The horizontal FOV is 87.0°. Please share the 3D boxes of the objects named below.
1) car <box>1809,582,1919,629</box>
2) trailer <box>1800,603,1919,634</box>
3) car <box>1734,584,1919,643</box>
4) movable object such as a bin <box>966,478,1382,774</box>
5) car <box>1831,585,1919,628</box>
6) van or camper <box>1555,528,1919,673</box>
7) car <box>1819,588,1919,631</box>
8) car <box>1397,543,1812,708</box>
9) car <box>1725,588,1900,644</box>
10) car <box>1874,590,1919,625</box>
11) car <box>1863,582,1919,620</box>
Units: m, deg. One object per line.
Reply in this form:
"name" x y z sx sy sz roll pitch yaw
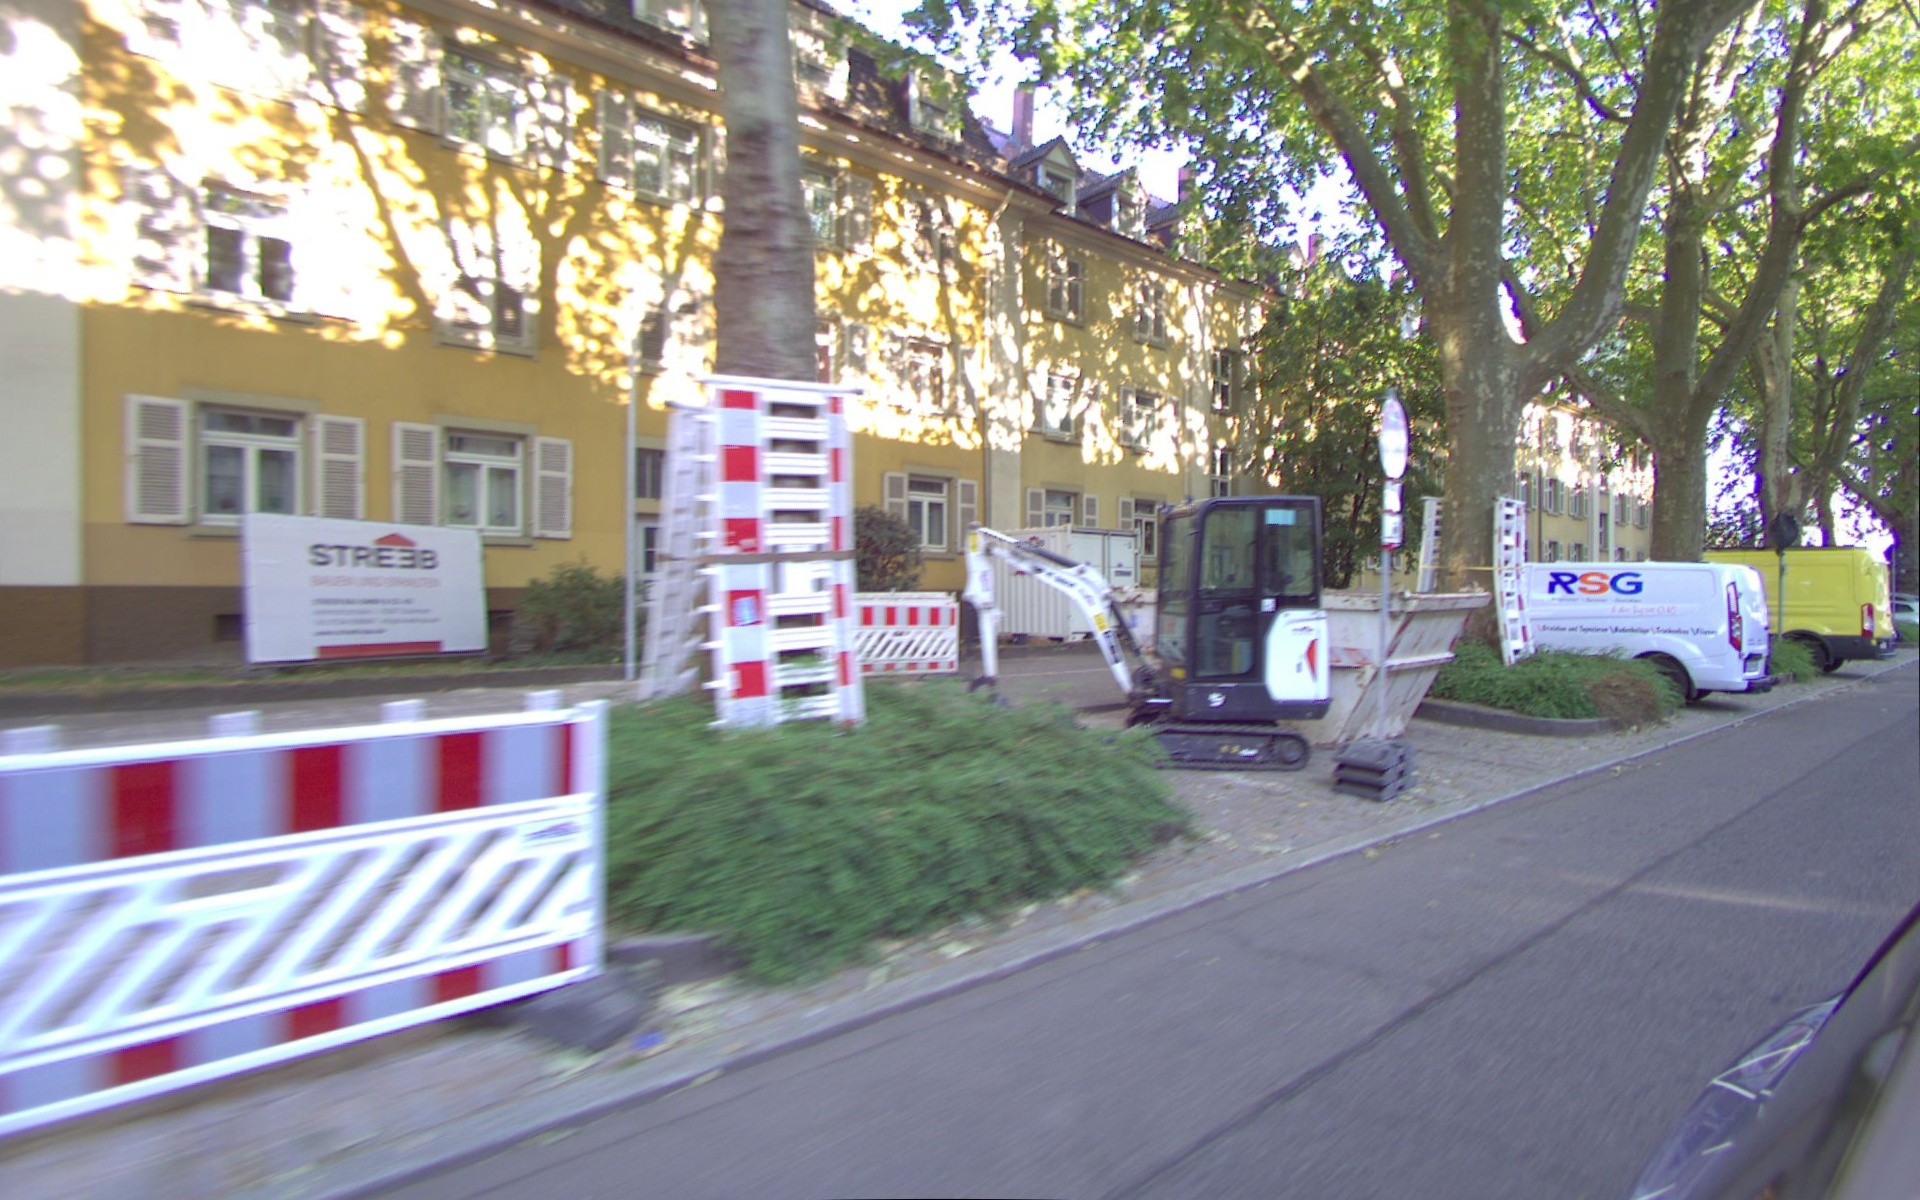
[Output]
"car" 36.880 0.215 40.362 1.806 1.753 4.322 1 1 -37
"trailer" 32.591 0.643 36.656 1.409 0.914 3.052 0 2 -34
"car" 26.063 0.350 30.472 1.799 1.569 4.084 -1 2 -41
"movable object such as a bin" 1.746 0.188 8.787 3.210 2.298 1.488 0 0 -7
"car" 38.839 0.254 41.592 1.875 1.678 4.432 -1 2 -42
"van or camper" 16.348 -0.058 21.572 2.229 2.662 5.940 -2 2 -38
"car" 34.827 0.356 37.977 1.832 1.441 3.661 0 3 -39
"car" 9.344 0.274 15.046 2.027 2.038 4.844 0 1 -41
"car" 24.256 0.403 28.862 1.709 1.444 3.656 0 2 -44
"car" 43.880 0.367 45.617 1.712 1.516 3.885 0 2 -43
"car" 49.270 0.083 51.204 1.881 1.878 5.123 -1 3 -41
